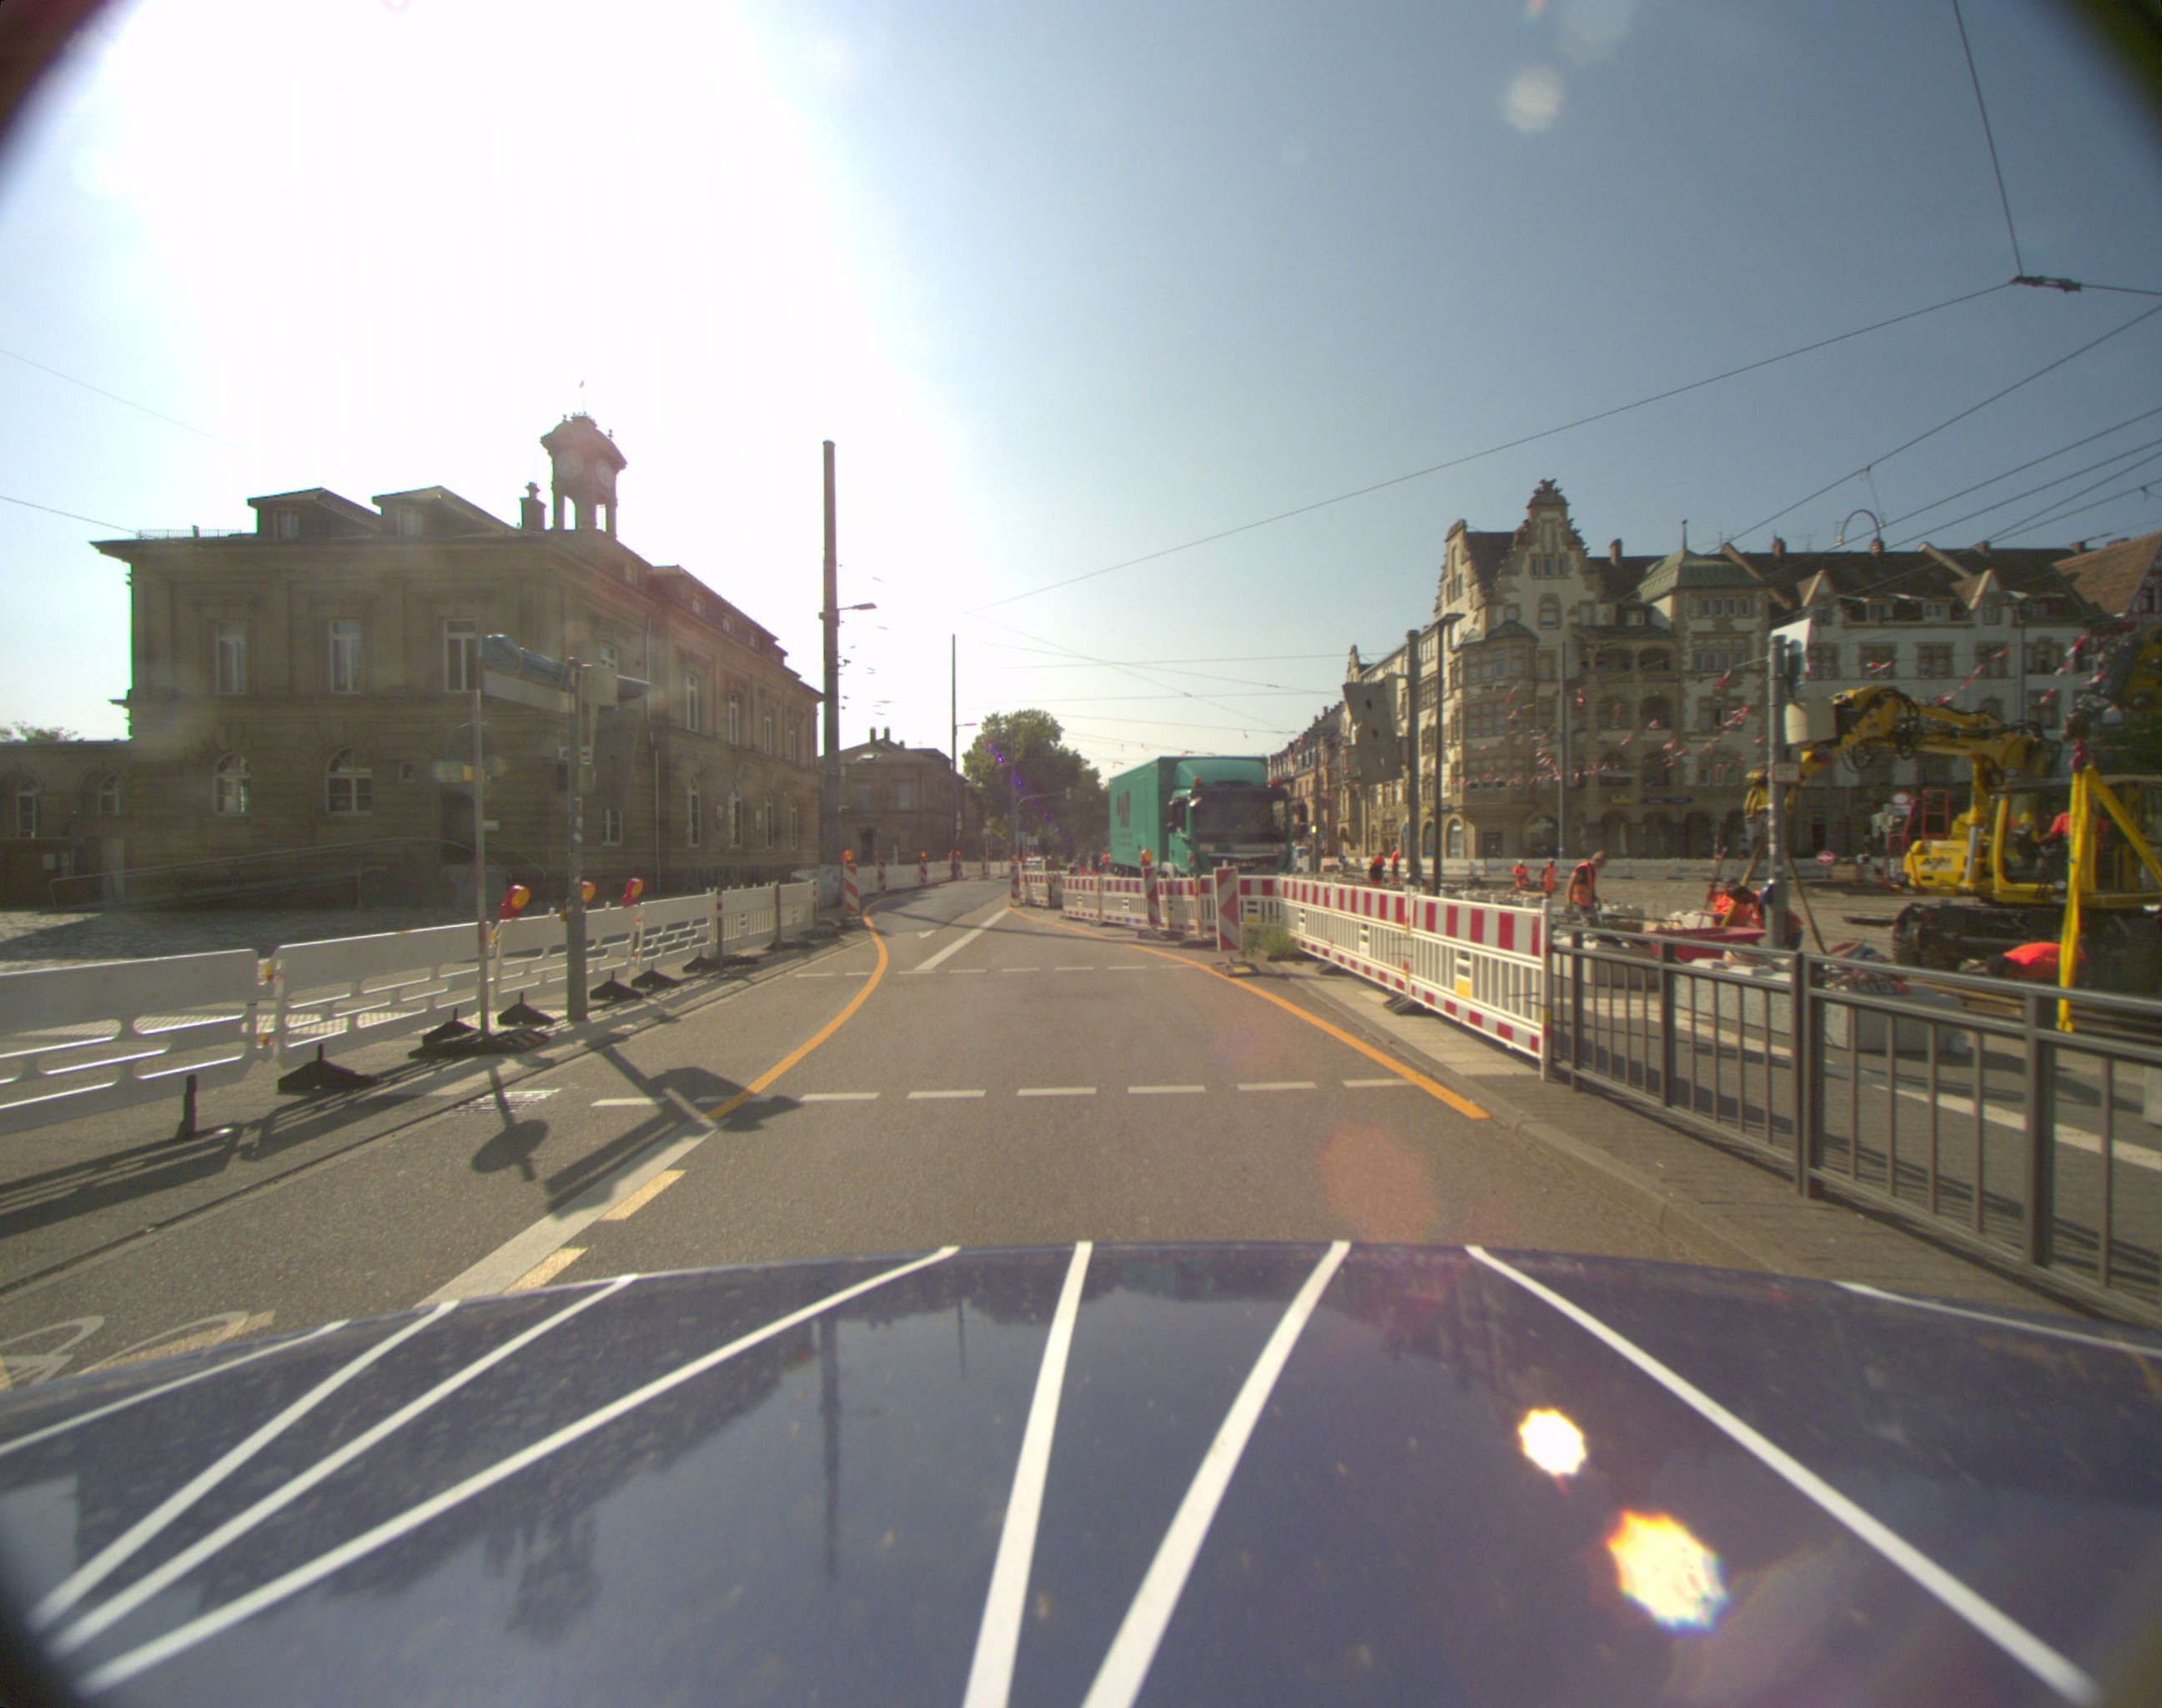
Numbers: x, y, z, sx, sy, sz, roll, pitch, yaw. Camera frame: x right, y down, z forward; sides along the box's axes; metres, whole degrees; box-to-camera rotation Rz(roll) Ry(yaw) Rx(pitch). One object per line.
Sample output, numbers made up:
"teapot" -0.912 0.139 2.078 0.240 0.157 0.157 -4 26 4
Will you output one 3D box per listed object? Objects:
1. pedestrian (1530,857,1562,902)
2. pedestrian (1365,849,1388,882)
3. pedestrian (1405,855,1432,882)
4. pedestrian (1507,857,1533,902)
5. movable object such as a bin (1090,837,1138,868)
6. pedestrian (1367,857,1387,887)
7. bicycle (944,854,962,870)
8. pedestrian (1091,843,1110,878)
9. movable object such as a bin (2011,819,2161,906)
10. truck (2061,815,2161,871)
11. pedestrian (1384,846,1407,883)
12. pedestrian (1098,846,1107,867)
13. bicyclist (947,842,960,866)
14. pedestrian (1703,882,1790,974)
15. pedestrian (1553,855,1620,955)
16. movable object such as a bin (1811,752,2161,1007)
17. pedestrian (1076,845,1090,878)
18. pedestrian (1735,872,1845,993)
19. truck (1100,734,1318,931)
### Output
"pedestrian" 17.630 0.961 28.795 0.741 1.692 0.758 0 1 0
"pedestrian" 13.835 0.523 35.563 0.755 1.547 0.735 -1 1 -41
"pedestrian" 15.583 0.672 35.080 0.732 1.177 0.866 3 2 -6
"pedestrian" 16.769 0.952 29.028 0.739 1.692 0.760 0 1 21
"movable object such as a bin" 2.712 -0.146 63.409 3.173 2.396 2.915 2 2 -14
"pedestrian" 12.757 0.772 32.754 0.678 1.240 0.547 0 1 0
"bicycle" -8.767 0.543 52.096 0.743 1.026 2.132 0 1 2
"pedestrian" 1.028 0.357 40.494 0.921 1.830 0.801 0 1 -4
"movable object such as a bin" 35.896 0.228 25.721 5.515 2.774 2.490 -1 2 2
"truck" 55.643 -0.557 39.491 6.037 2.799 2.691 0 1 -1
"pedestrian" 14.298 0.481 34.593 0.752 1.692 0.678 0 1 1
"pedestrian" 1.769 0.194 62.555 0.701 1.729 0.913 0 1 7
"bicyclist" -8.761 0.011 52.104 0.736 1.616 0.853 0 1 2
"pedestrian" 9.148 0.992 10.477 0.701 1.171 0.703 0 1 22
"pedestrian" 7.719 0.749 11.637 0.741 1.470 0.704 0 1 24
"movable object such as a bin" 14.938 0.321 11.775 4.127 3.204 3.563 0 0 -14
"pedestrian" 0.121 0.394 41.036 0.720 1.765 0.465 0 1 -3
"pedestrian" 8.449 0.899 9.092 0.701 1.327 0.838 0 1 22
"truck" 2.606 -0.415 19.154 2.817 3.766 9.008 1 0 -8
